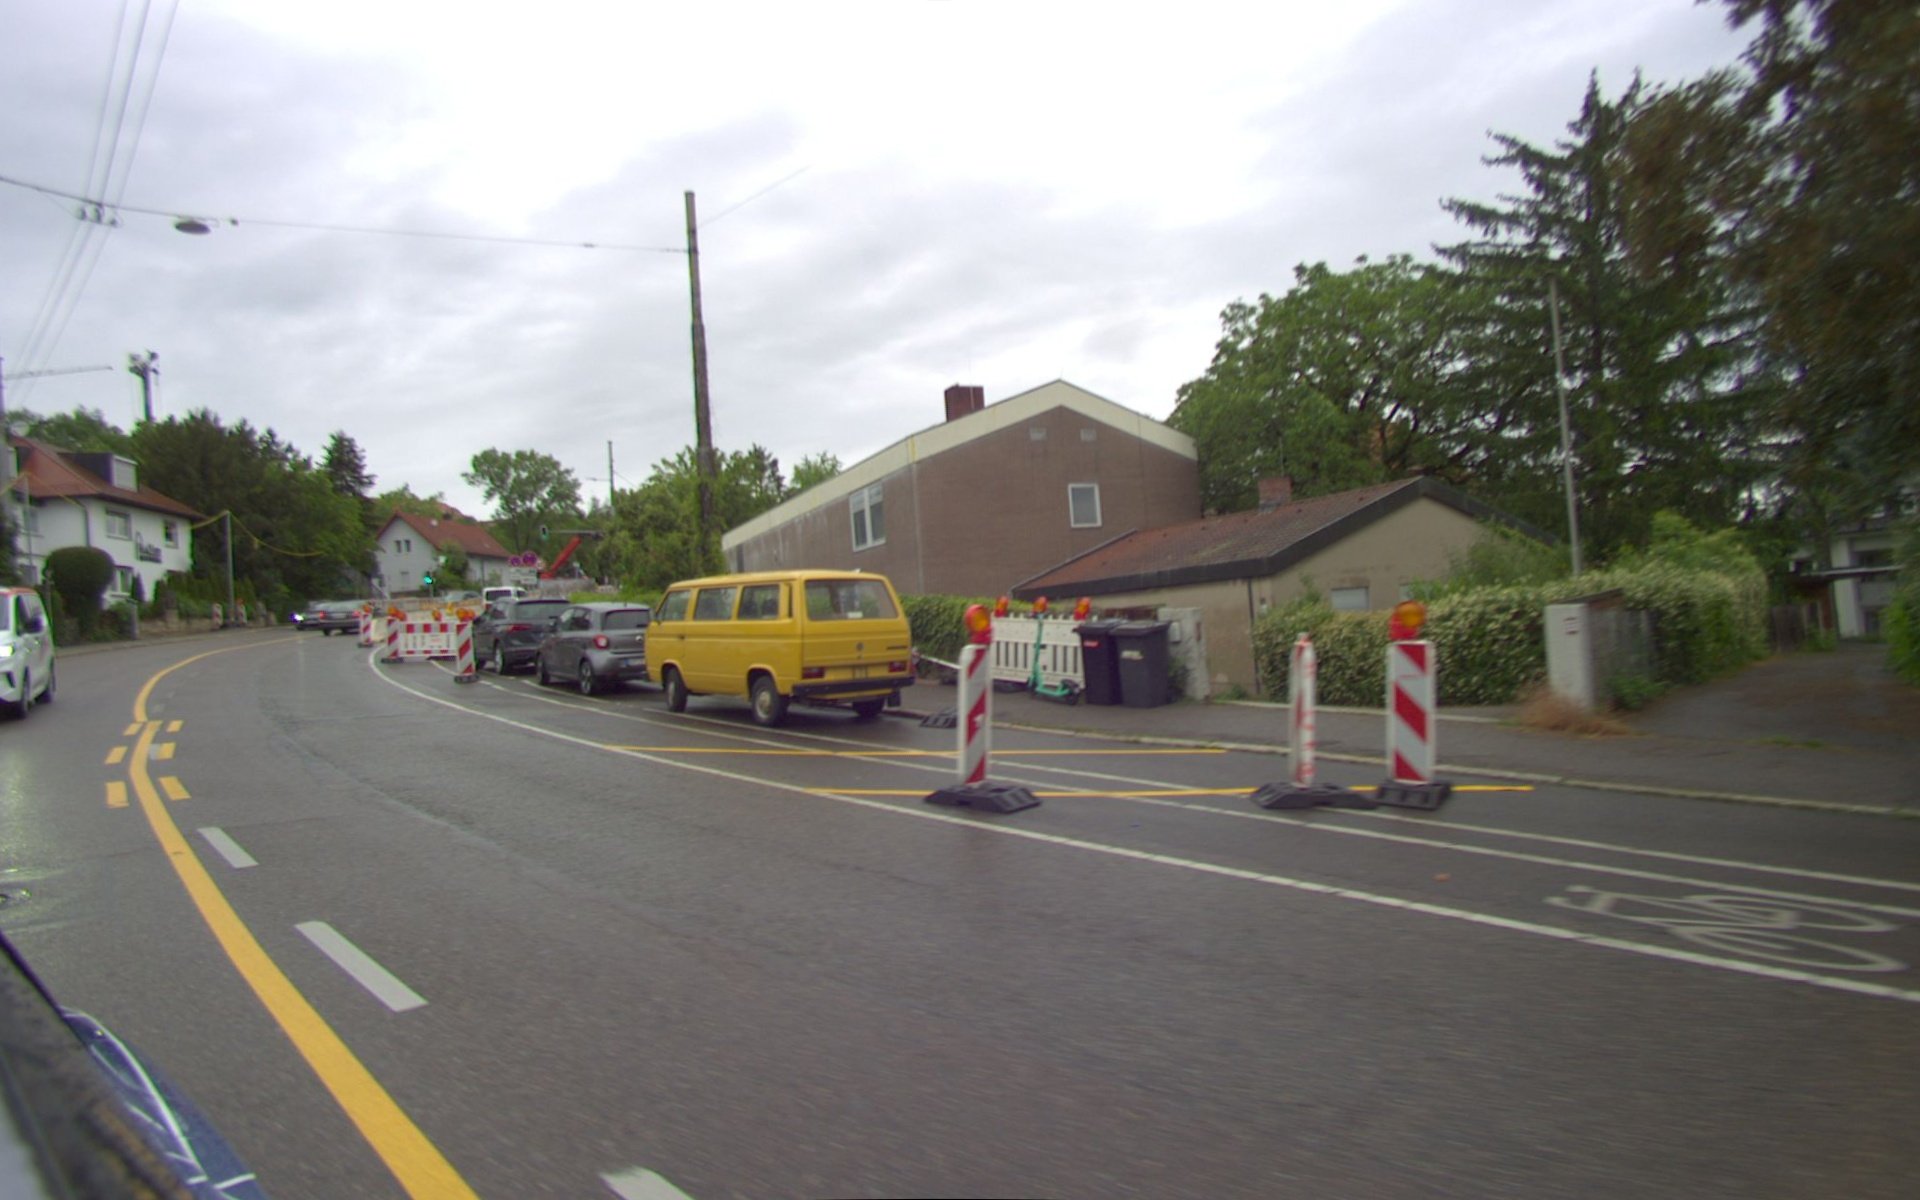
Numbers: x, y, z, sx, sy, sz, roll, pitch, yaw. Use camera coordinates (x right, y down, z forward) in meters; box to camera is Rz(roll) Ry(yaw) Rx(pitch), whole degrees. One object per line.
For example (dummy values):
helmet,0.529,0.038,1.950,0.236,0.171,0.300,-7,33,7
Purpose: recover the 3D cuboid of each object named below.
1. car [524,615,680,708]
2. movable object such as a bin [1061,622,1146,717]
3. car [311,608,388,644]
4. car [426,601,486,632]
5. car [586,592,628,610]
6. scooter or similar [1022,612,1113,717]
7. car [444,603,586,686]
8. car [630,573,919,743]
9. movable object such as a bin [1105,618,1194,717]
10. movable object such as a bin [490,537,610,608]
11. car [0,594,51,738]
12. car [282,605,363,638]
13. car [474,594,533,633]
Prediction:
car,-6.522,1.028,18.258,1.554,1.465,3.470,-1,0,-40
movable object such as a bin,1.869,0.882,13.204,0.848,1.149,0.713,-2,1,-44
car,-28.218,1.174,46.945,1.766,1.501,4.684,-2,0,-15
car,-35.193,1.112,70.749,1.990,1.954,3.996,-1,1,3
car,-32.335,0.030,92.896,1.965,1.470,4.509,-2,1,5
scooter or similar,1.391,0.809,13.266,0.393,1.269,1.321,-5,3,-32
car,-10.052,0.946,22.676,1.698,1.620,4.470,-2,0,-40
car,-2.711,0.707,13.898,1.781,1.942,4.583,0,-1,-42
movable object such as a bin,2.368,0.818,12.644,0.848,1.149,0.713,-2,1,-44
movable object such as a bin,-40.896,-2.704,101.379,8.935,6.601,7.034,-1,1,2
car,-15.142,0.921,15.037,2.010,1.953,4.525,-1,0,-37
car,-32.998,1.083,52.557,1.958,1.447,4.525,-2,1,-10
car,-22.949,0.660,51.039,1.781,1.814,4.474,-2,0,-12
